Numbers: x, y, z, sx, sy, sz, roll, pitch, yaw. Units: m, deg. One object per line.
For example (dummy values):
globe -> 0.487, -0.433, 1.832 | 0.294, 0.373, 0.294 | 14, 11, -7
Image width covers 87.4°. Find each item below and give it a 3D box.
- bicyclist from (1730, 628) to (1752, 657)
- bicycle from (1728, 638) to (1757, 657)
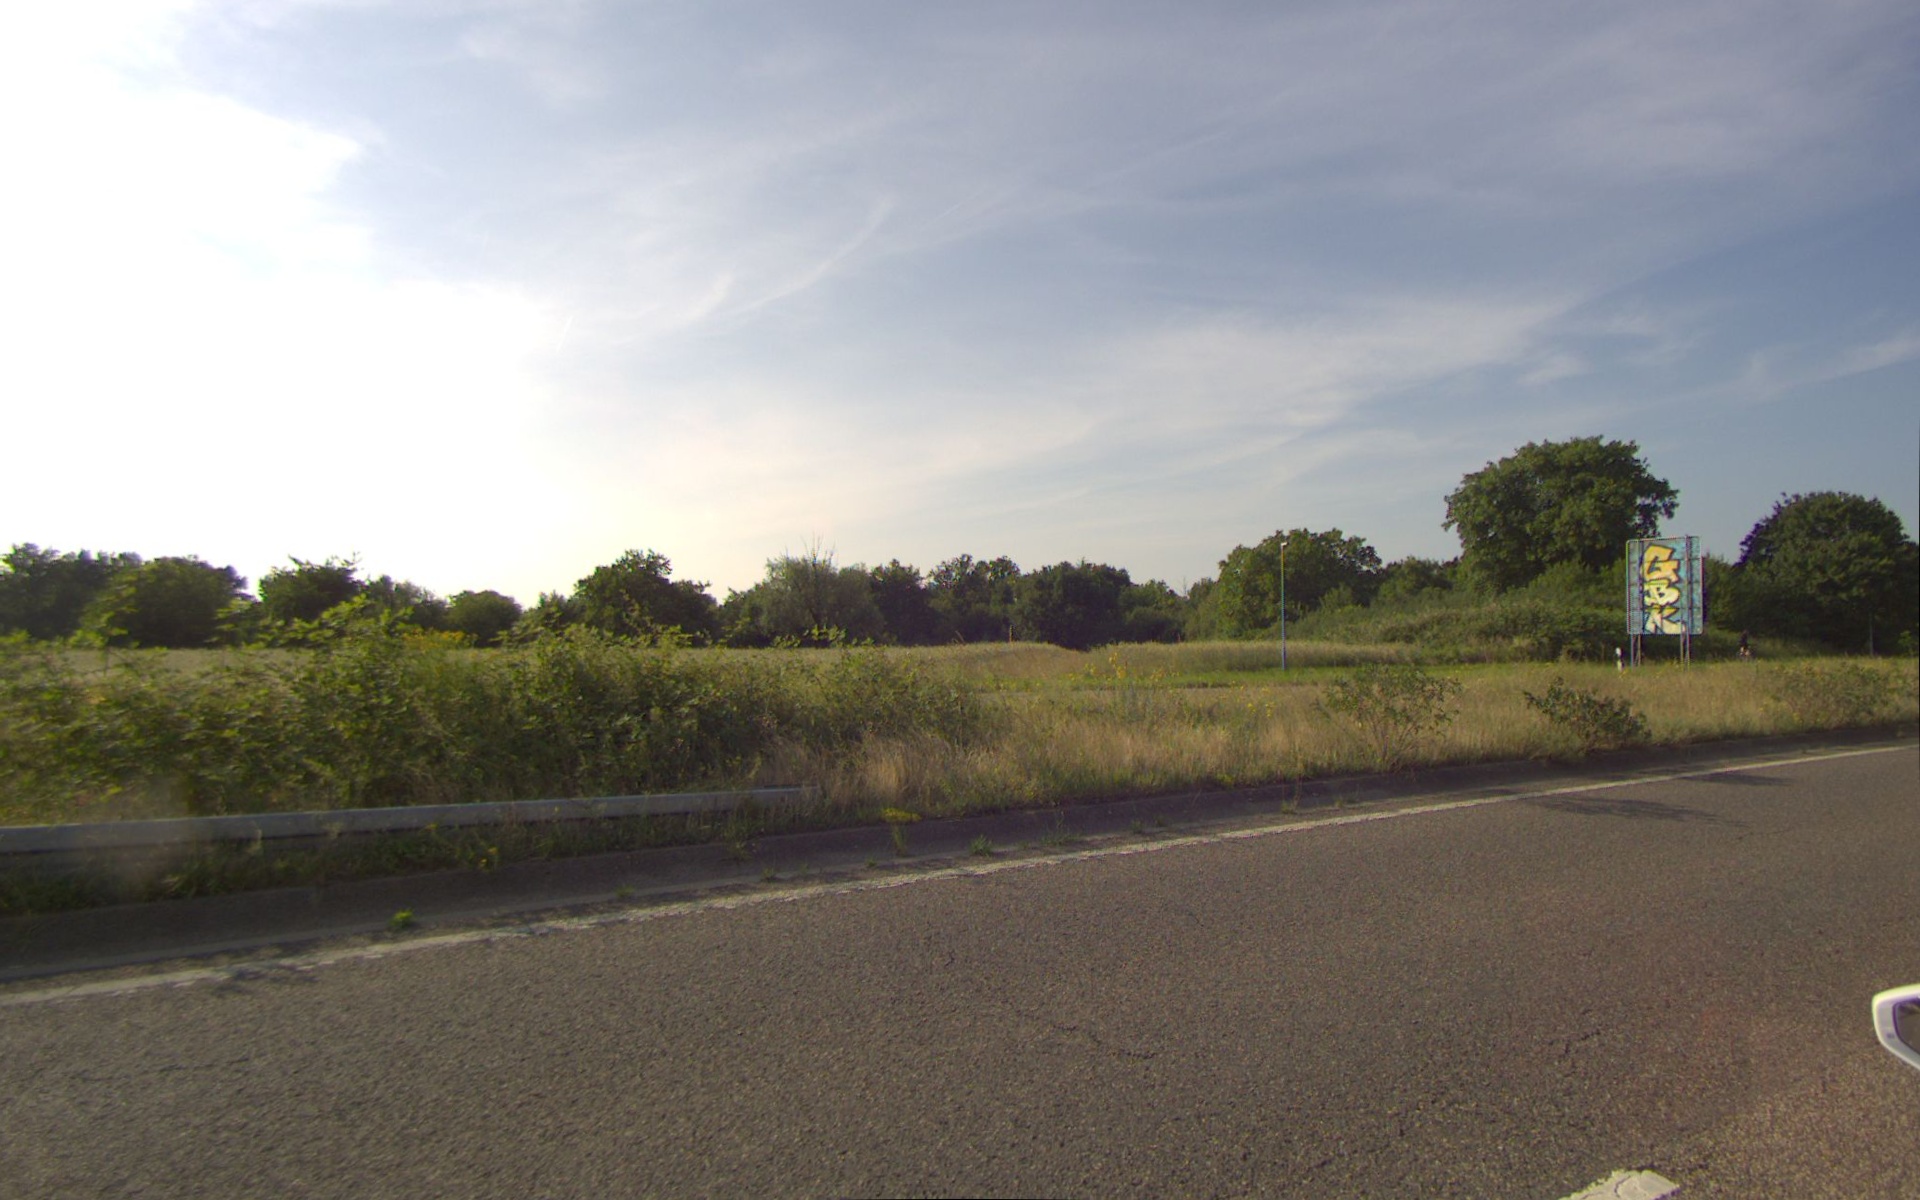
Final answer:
bicyclist -> 38.131, 2.067, 49.054 | 1.035, 1.408, 0.465 | 1, -1, -29
bicycle -> 38.245, 2.306, 49.088 | 1.684, 0.890, 0.527 | 1, -1, -29
